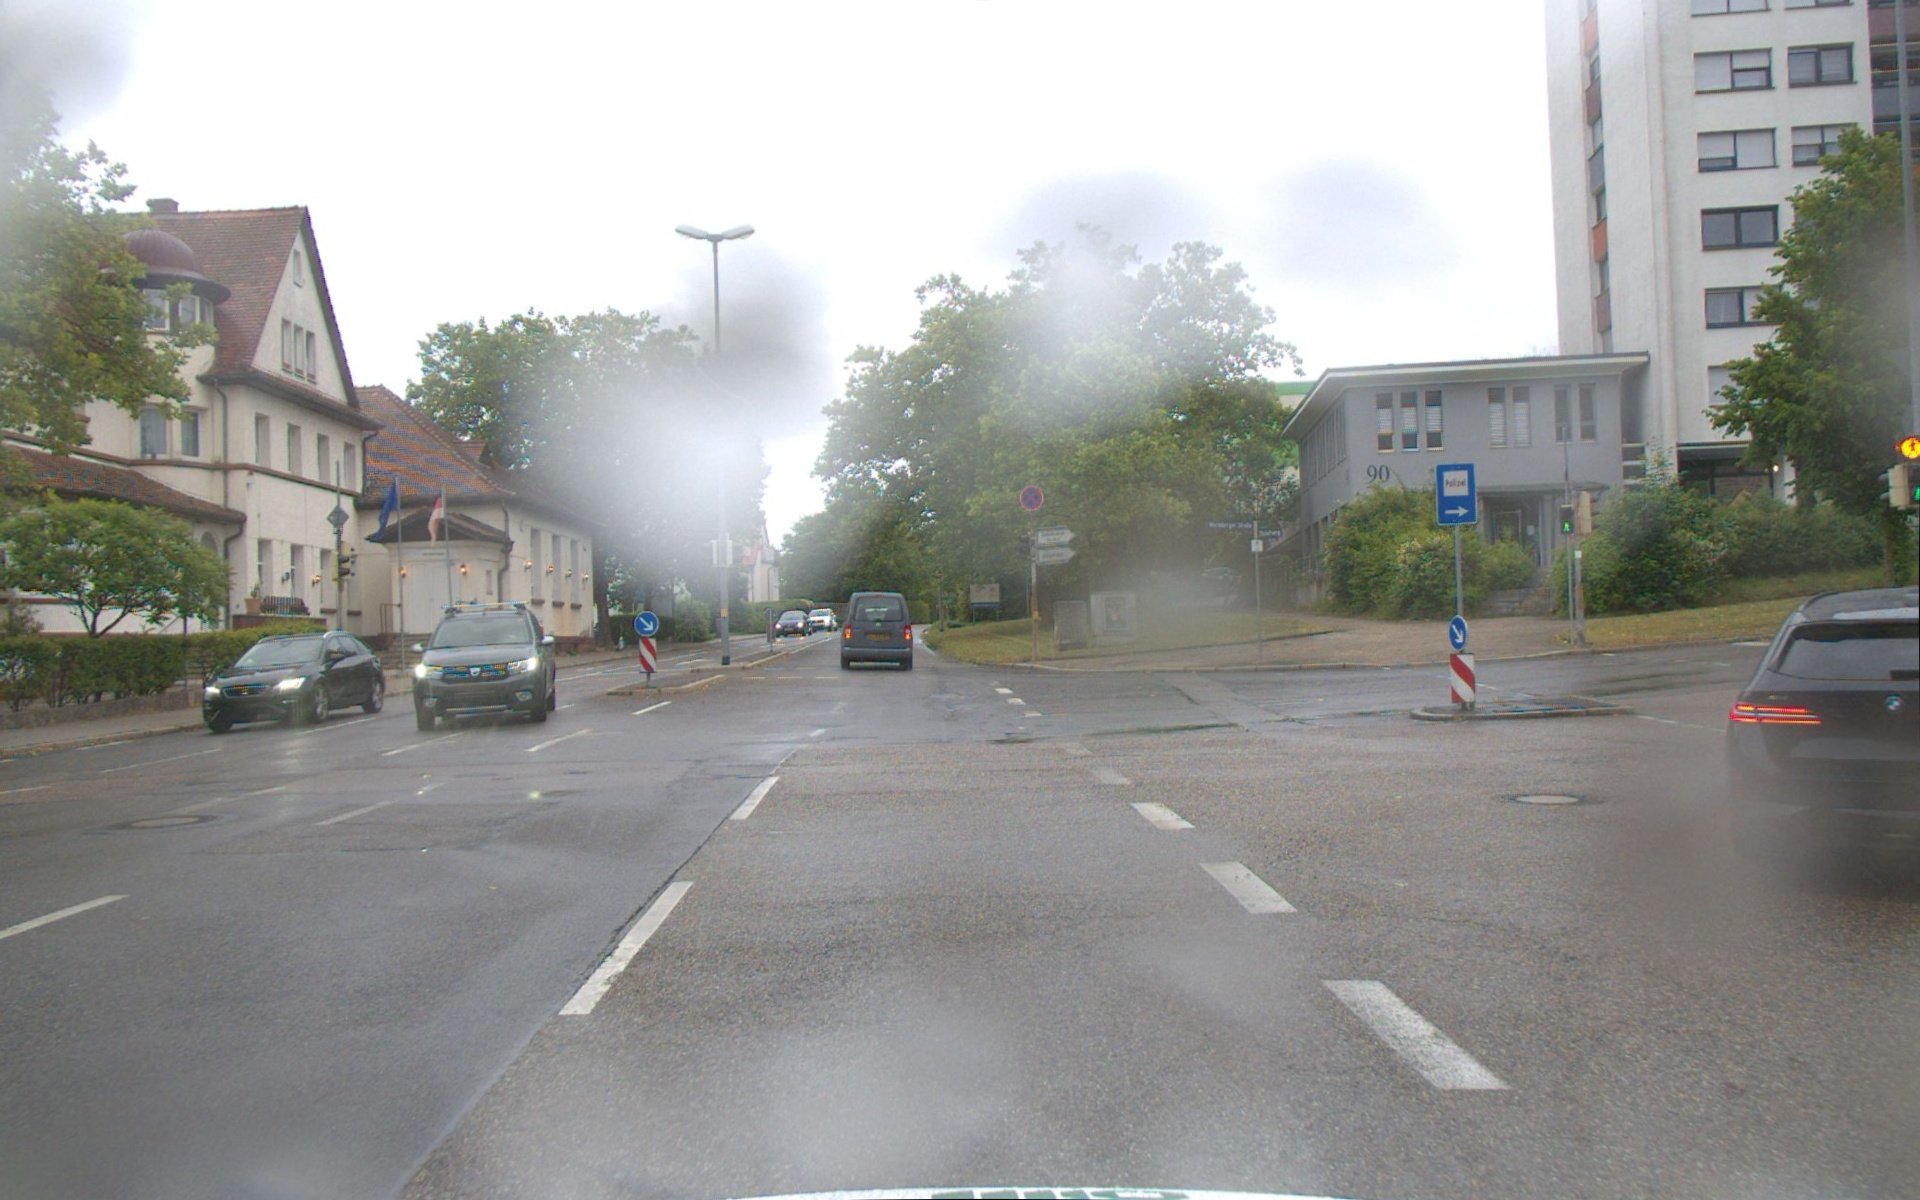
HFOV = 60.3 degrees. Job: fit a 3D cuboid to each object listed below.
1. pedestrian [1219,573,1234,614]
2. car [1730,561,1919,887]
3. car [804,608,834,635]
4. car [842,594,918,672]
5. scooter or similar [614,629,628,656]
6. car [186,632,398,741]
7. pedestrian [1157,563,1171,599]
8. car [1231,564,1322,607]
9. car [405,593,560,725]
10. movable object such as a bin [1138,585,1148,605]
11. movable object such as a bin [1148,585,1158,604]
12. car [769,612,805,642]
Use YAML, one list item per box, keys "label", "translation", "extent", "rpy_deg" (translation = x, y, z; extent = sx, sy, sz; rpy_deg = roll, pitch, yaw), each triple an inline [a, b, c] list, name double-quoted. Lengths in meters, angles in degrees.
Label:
- label: "pedestrian"
  translation: [10.794, -0.272, 66.951]
  extent: [0.588, 1.645, 0.526]
  rpy_deg: [0, -1, 7]
- label: "car"
  translation: [5.419, 0.608, 9.496]
  extent: [1.495, 1.561, 3.525]
  rpy_deg: [-1, -1, 30]
- label: "car"
  translation: [-9.583, 1.428, 112.884]
  extent: [1.793, 1.700, 4.049]
  rpy_deg: [-2, 1, -2]
- label: "car"
  translation: [-1.965, 0.797, 40.766]
  extent: [1.776, 1.840, 3.754]
  rpy_deg: [0, -1, -3]
- label: "scooter or similar"
  translation: [-13.958, 1.749, 68.081]
  extent: [0.382, 1.083, 1.409]
  rpy_deg: [0, -1, -4]
- label: "car"
  translation: [-10.955, 1.365, 27.495]
  extent: [1.870, 1.452, 4.413]
  rpy_deg: [-2, 1, -3]
- label: "pedestrian"
  translation: [10.188, -0.932, 82.686]
  extent: [0.546, 1.794, 0.727]
  rpy_deg: [0, -1, -4]
- label: "car"
  translation: [14.271, -0.643, 74.751]
  extent: [3.902, 1.848, 2.001]
  rpy_deg: [0, -1, 8]
- label: "car"
  translation: [-6.668, 0.741, 23.421]
  extent: [1.867, 1.604, 4.486]
  rpy_deg: [-2, 1, -14]
- label: "movable object such as a bin"
  translation: [8.692, -0.248, 78.585]
  extent: [0.440, 0.921, 0.463]
  rpy_deg: [0, -1, 15]
- label: "movable object such as a bin"
  translation: [9.151, -0.251, 78.448]
  extent: [0.440, 0.921, 0.463]
  rpy_deg: [0, -1, 15]
- label: "car"
  translation: [-10.096, 1.545, 96.636]
  extent: [1.757, 1.554, 4.207]
  rpy_deg: [-2, 1, -2]
